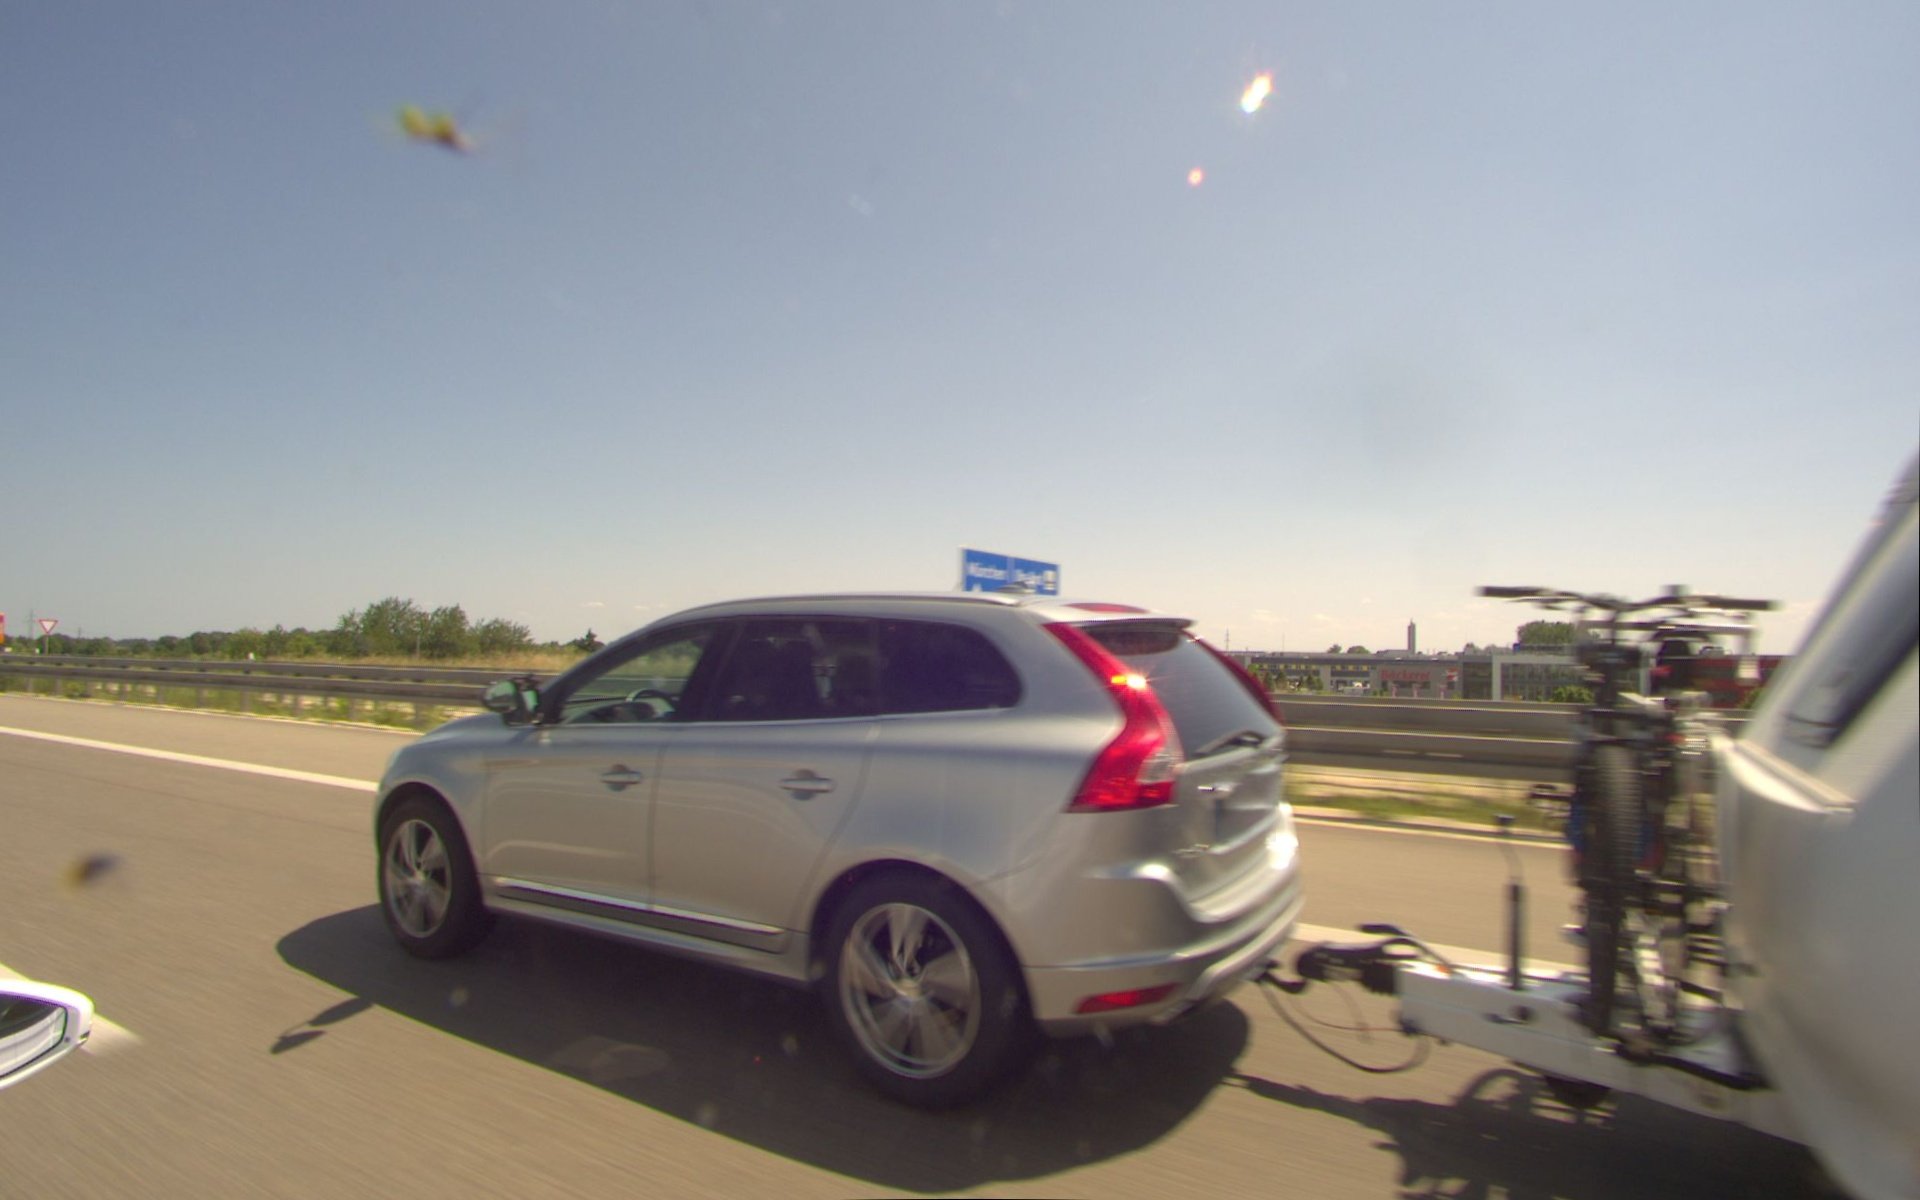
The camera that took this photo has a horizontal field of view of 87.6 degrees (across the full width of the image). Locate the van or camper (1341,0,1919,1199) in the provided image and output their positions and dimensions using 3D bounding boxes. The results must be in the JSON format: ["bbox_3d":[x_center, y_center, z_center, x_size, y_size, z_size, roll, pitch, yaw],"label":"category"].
[{"bbox_3d":[4.715,0.195,1.107,7.705,2.626,2.508,0,-1,32],"label":"van or camper"}]

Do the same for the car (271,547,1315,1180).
[{"bbox_3d":[-1.040,0.735,4.708,4.834,1.643,1.877,-1,-2,32],"label":"car"}]
